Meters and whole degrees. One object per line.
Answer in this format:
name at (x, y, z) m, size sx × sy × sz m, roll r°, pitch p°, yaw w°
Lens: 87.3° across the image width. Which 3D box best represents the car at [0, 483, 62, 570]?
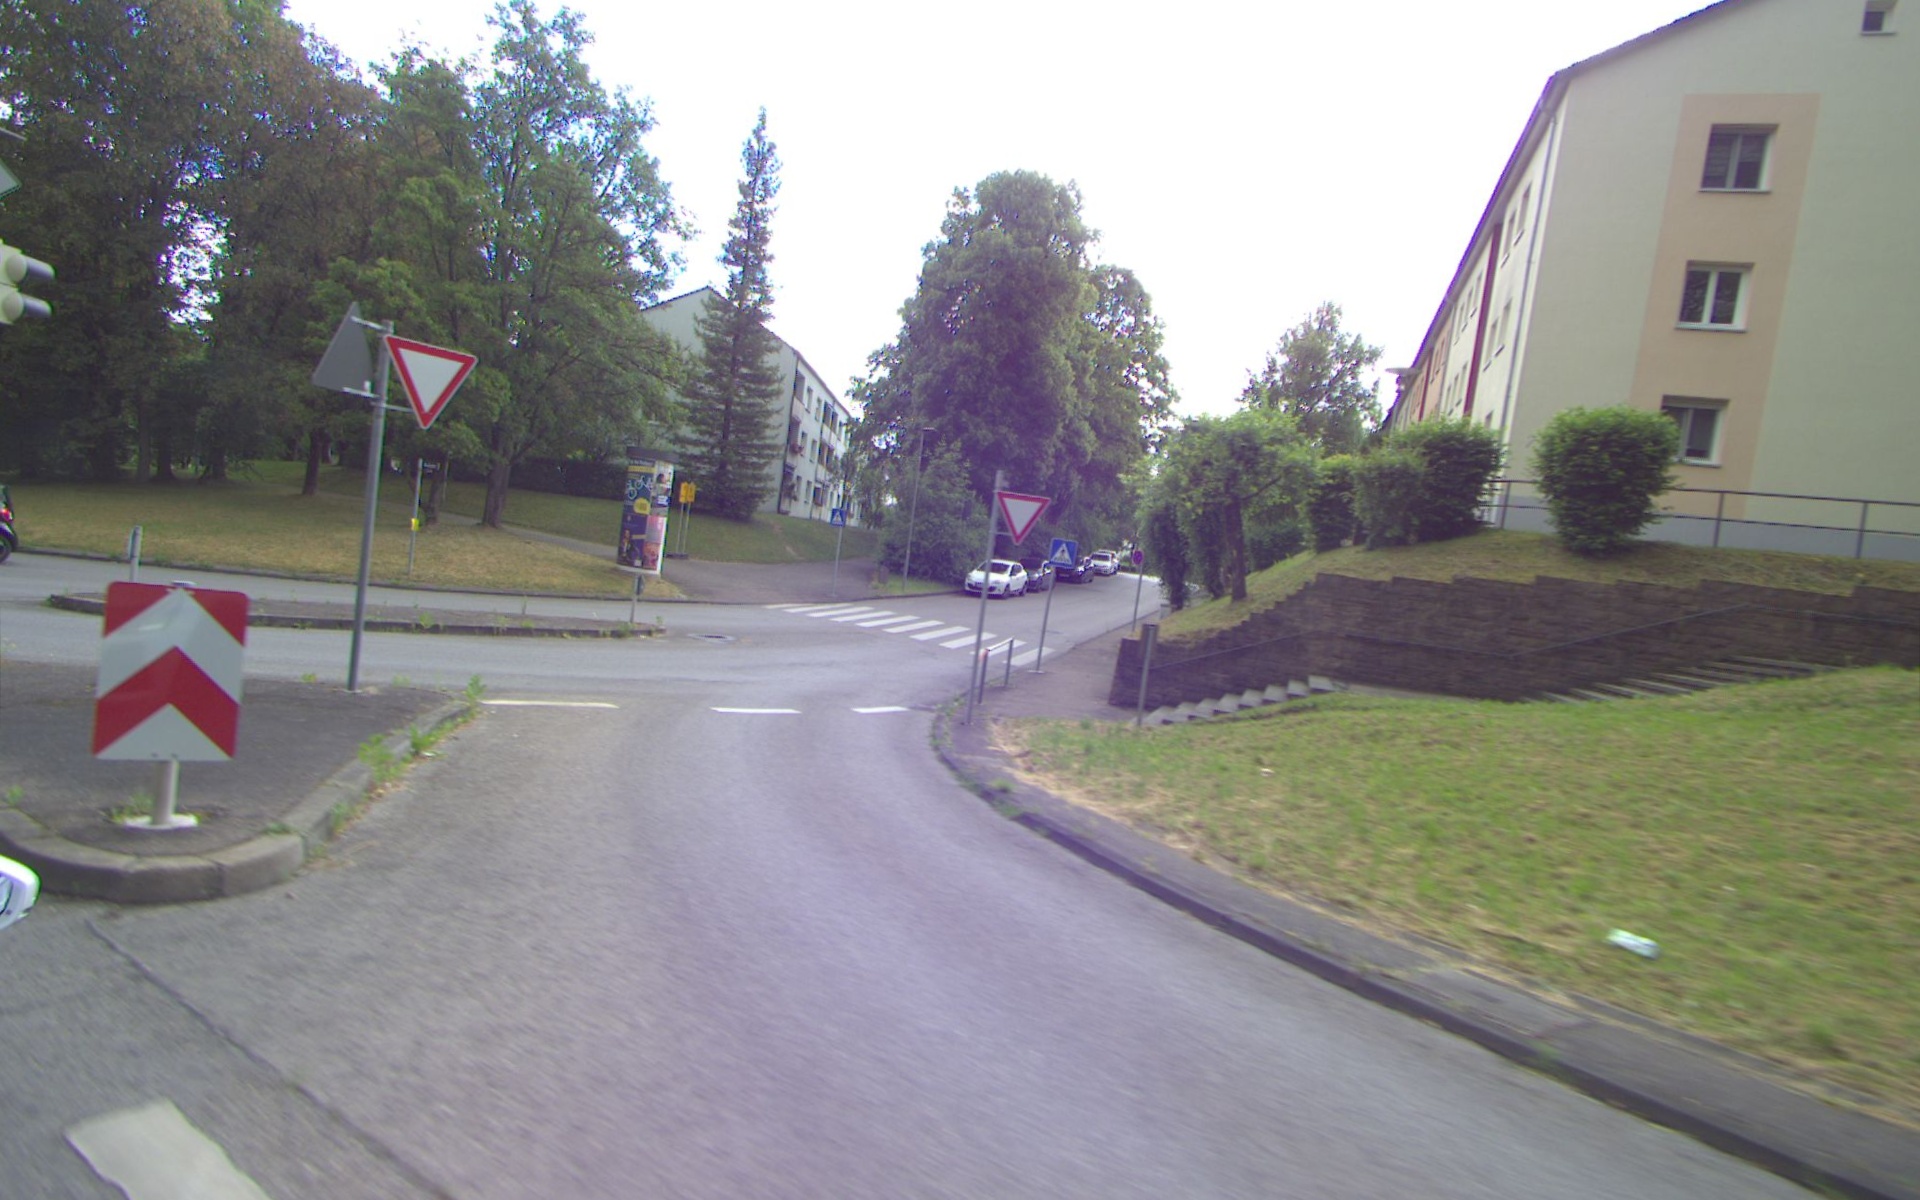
car at (-18.824, -1.527, 18.424) m, size 1.644 × 1.513 × 3.299 m, roll 7°, pitch 0°, yaw 41°
